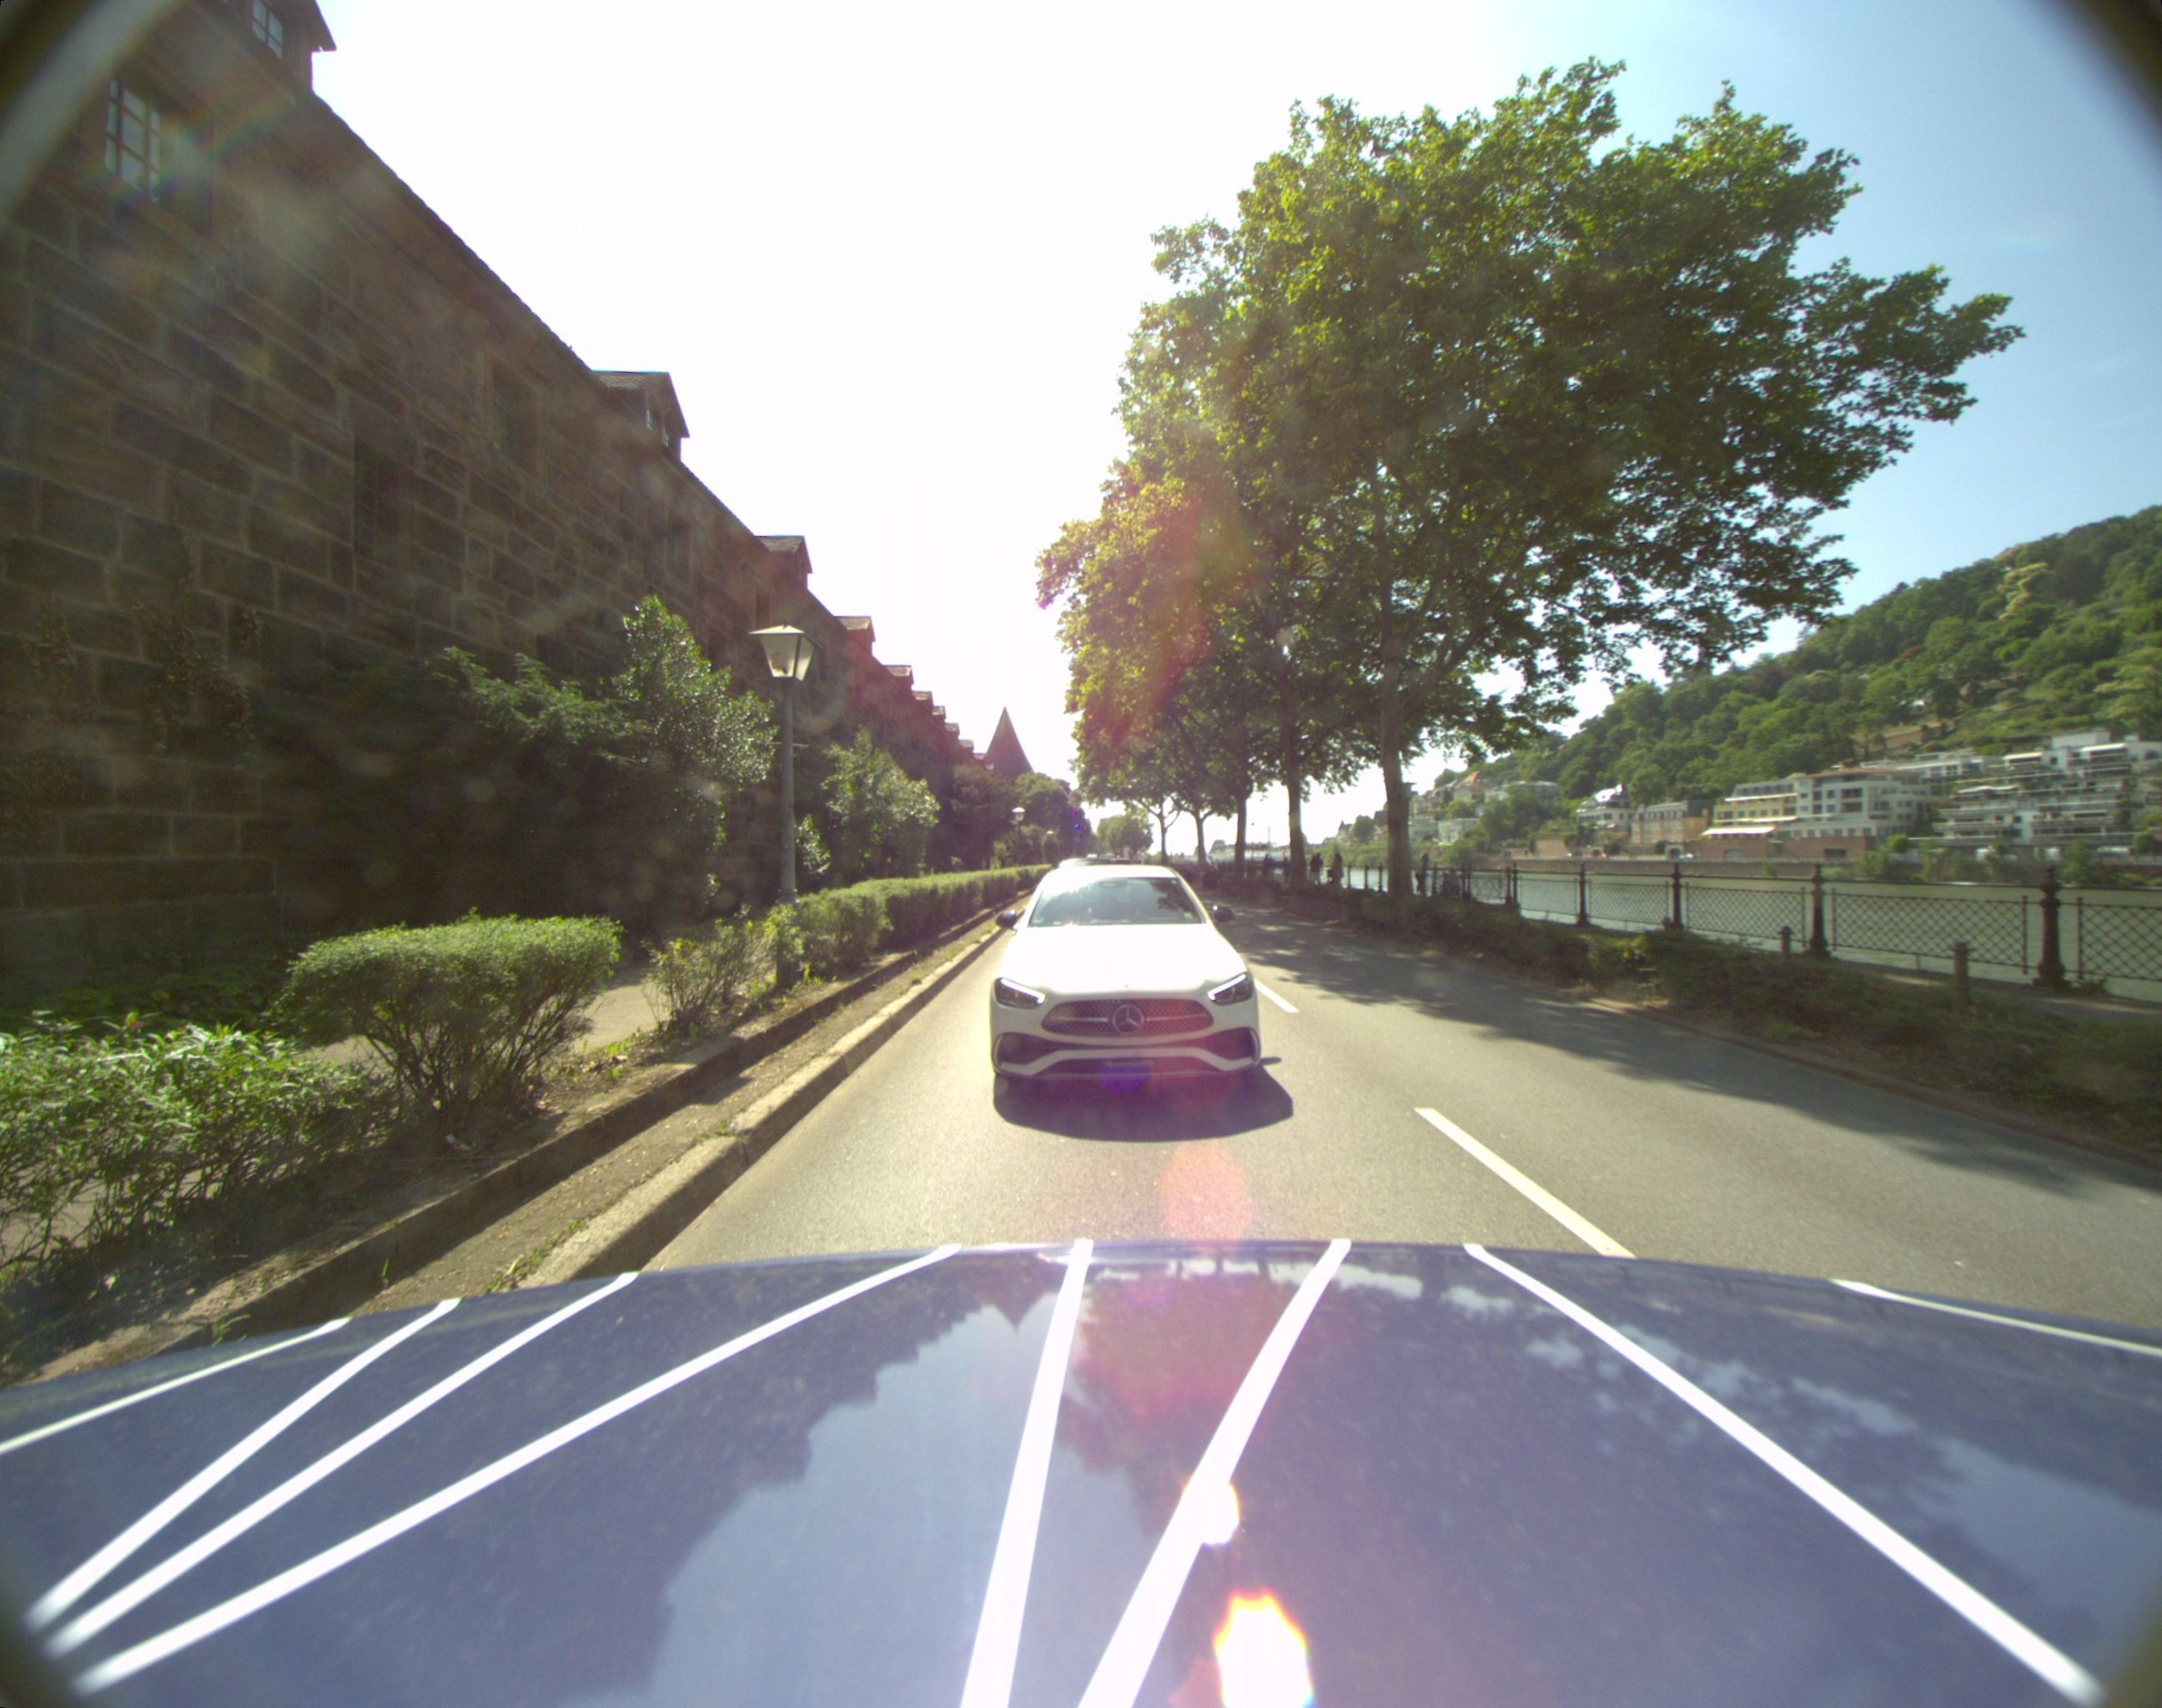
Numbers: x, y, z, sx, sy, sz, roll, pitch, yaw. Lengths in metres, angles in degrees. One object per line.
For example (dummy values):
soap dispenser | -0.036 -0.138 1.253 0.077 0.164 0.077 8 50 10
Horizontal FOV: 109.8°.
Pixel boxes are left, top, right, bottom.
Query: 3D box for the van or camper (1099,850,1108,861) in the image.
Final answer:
van or camper | 5.966 0.356 203.681 2.328 2.646 6.264 2 0 0

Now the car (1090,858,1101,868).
car | 2.787 1.718 151.494 1.923 1.975 3.999 0 0 -2

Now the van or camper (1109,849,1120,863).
van or camper | 6.318 0.419 144.987 1.965 2.552 5.841 1 0 1

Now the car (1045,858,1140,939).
car | 0.270 0.892 16.964 1.854 1.543 3.849 1 0 1

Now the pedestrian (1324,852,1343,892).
pedestrian | 11.088 0.782 33.386 0.616 1.709 0.455 -2 1 1

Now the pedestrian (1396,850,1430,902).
pedestrian | 11.111 0.723 25.420 0.695 1.707 0.874 -2 1 -1

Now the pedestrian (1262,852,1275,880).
pedestrian | 11.731 0.737 47.528 0.705 1.721 0.705 0 1 3

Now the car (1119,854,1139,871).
car | 4.667 0.819 74.410 1.768 1.638 4.090 1 0 1

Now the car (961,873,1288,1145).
car | 0.272 0.940 6.507 1.829 1.418 4.359 -1 0 1

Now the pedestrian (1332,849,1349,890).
pedestrian | 11.156 0.665 32.648 0.518 1.758 0.592 1 0 1

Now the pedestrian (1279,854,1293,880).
pedestrian | 12.455 0.779 46.183 0.705 1.594 0.705 0 1 3

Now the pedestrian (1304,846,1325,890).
pedestrian | 10.111 0.608 32.880 0.642 1.859 0.806 1 0 1

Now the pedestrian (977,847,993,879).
pedestrian | -5.032 0.450 39.718 0.700 1.643 0.705 1 0 3

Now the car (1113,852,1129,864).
car | 5.605 0.536 106.790 1.882 1.688 4.258 2 0 0
